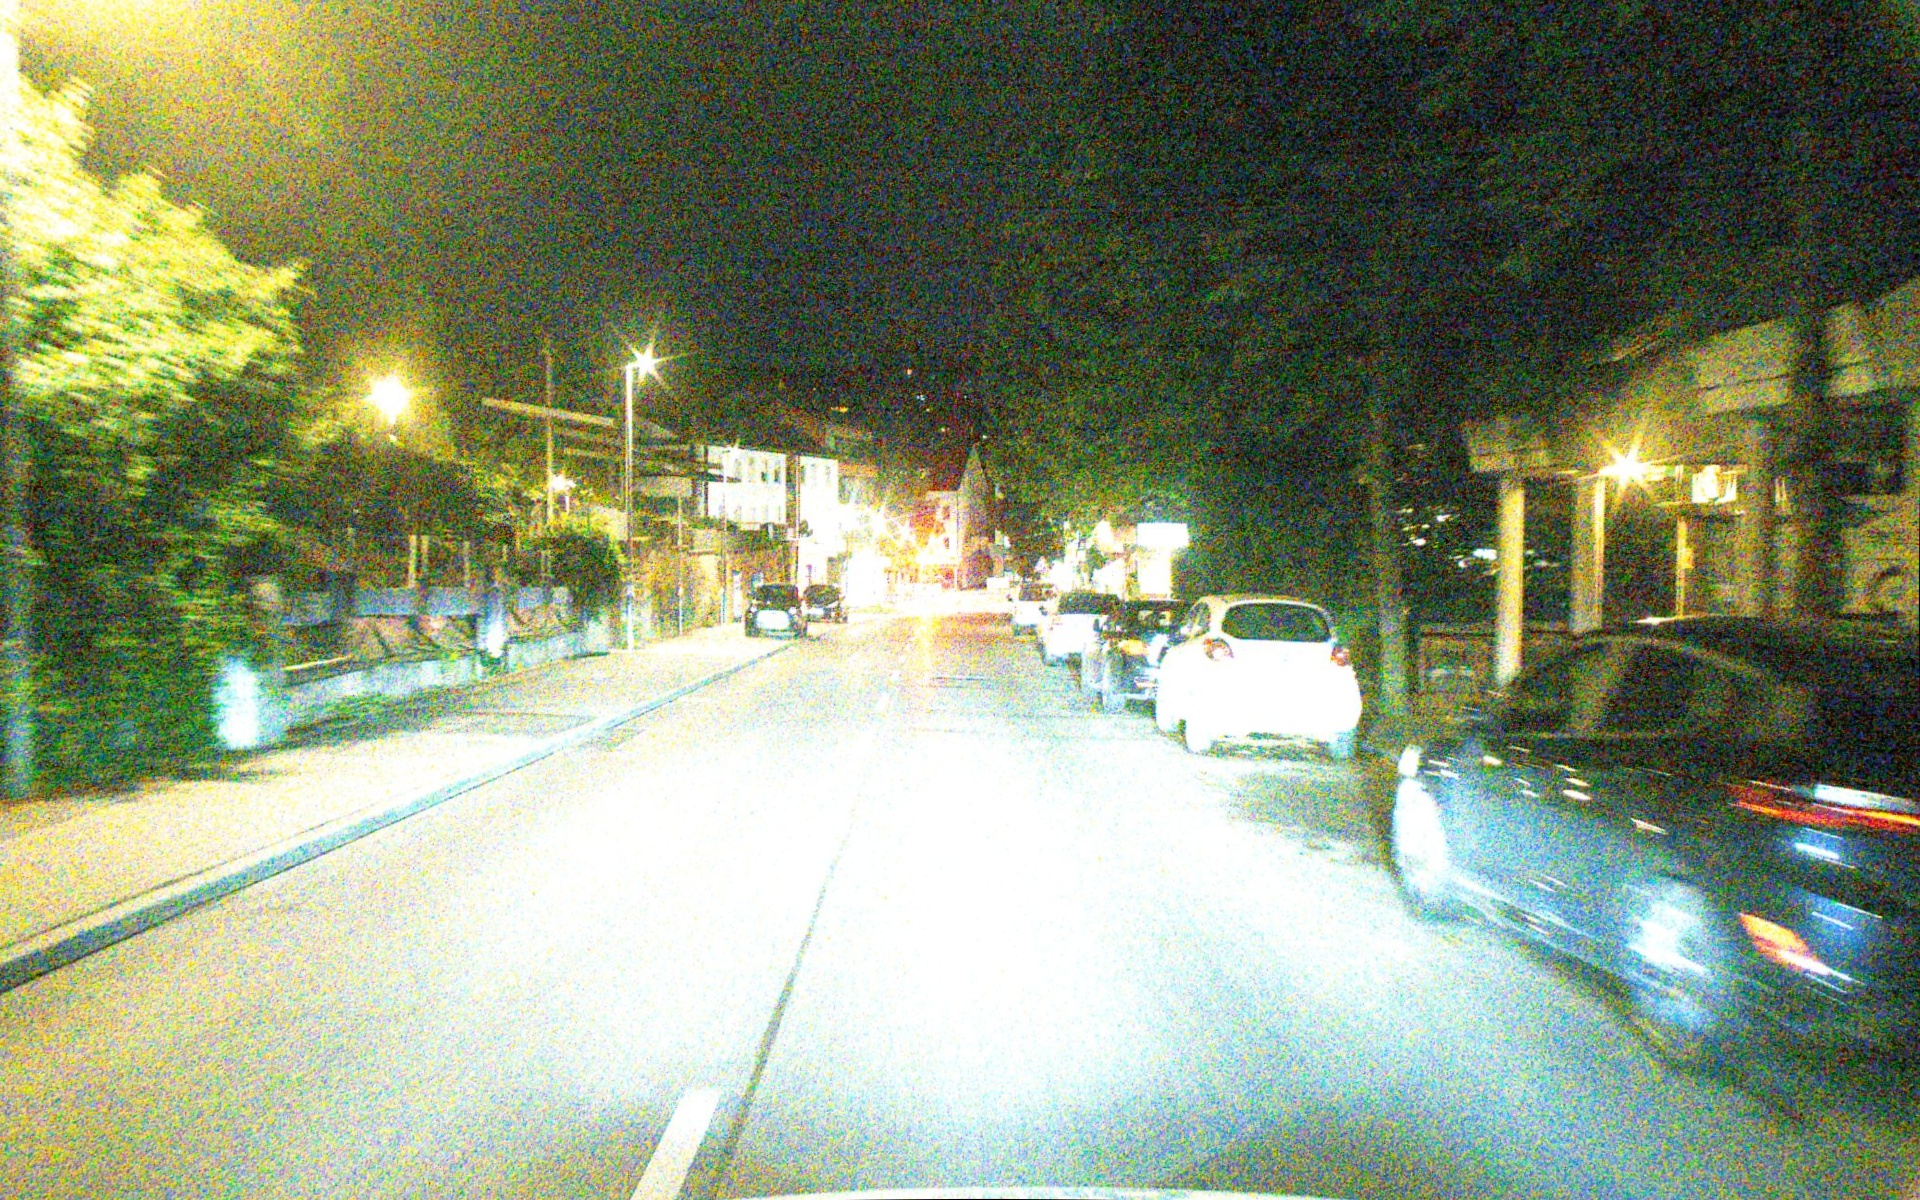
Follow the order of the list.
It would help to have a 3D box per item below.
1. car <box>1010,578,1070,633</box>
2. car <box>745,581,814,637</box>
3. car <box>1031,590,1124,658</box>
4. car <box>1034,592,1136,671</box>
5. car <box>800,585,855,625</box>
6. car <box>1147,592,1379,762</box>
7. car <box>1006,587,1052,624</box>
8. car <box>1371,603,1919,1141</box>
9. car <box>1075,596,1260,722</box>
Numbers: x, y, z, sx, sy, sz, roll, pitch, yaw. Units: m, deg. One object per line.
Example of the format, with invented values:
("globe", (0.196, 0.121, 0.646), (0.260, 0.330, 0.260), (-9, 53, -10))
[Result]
("car", (2.552, 0.156, 53.753), (1.750, 1.670, 4.380), (-2, 0, 1))
("car", (-5.267, 0.266, 48.597), (1.657, 1.550, 3.690), (1, -1, -1))
("car", (2.734, 0.518, 39.220), (1.744, 1.462, 4.288), (2, 0, -2))
("car", (2.453, 0.578, 33.415), (1.642, 1.472, 4.611), (0, 0, -1))
("car", (-5.253, 0.165, 65.897), (1.656, 1.461, 4.129), (2, 1, 3))
("car", (2.991, 0.697, 17.043), (1.605, 1.492, 3.775), (2, 0, -1))
("car", (2.909, 0.206, 70.268), (1.819, 1.467, 4.595), (-1, 0, 1))
("car", (3.074, 0.786, 6.697), (1.643, 1.472, 3.998), (1, 0, -3))
("car", (2.628, 0.699, 21.952), (1.726, 1.440, 4.438), (1, 0, -2))
